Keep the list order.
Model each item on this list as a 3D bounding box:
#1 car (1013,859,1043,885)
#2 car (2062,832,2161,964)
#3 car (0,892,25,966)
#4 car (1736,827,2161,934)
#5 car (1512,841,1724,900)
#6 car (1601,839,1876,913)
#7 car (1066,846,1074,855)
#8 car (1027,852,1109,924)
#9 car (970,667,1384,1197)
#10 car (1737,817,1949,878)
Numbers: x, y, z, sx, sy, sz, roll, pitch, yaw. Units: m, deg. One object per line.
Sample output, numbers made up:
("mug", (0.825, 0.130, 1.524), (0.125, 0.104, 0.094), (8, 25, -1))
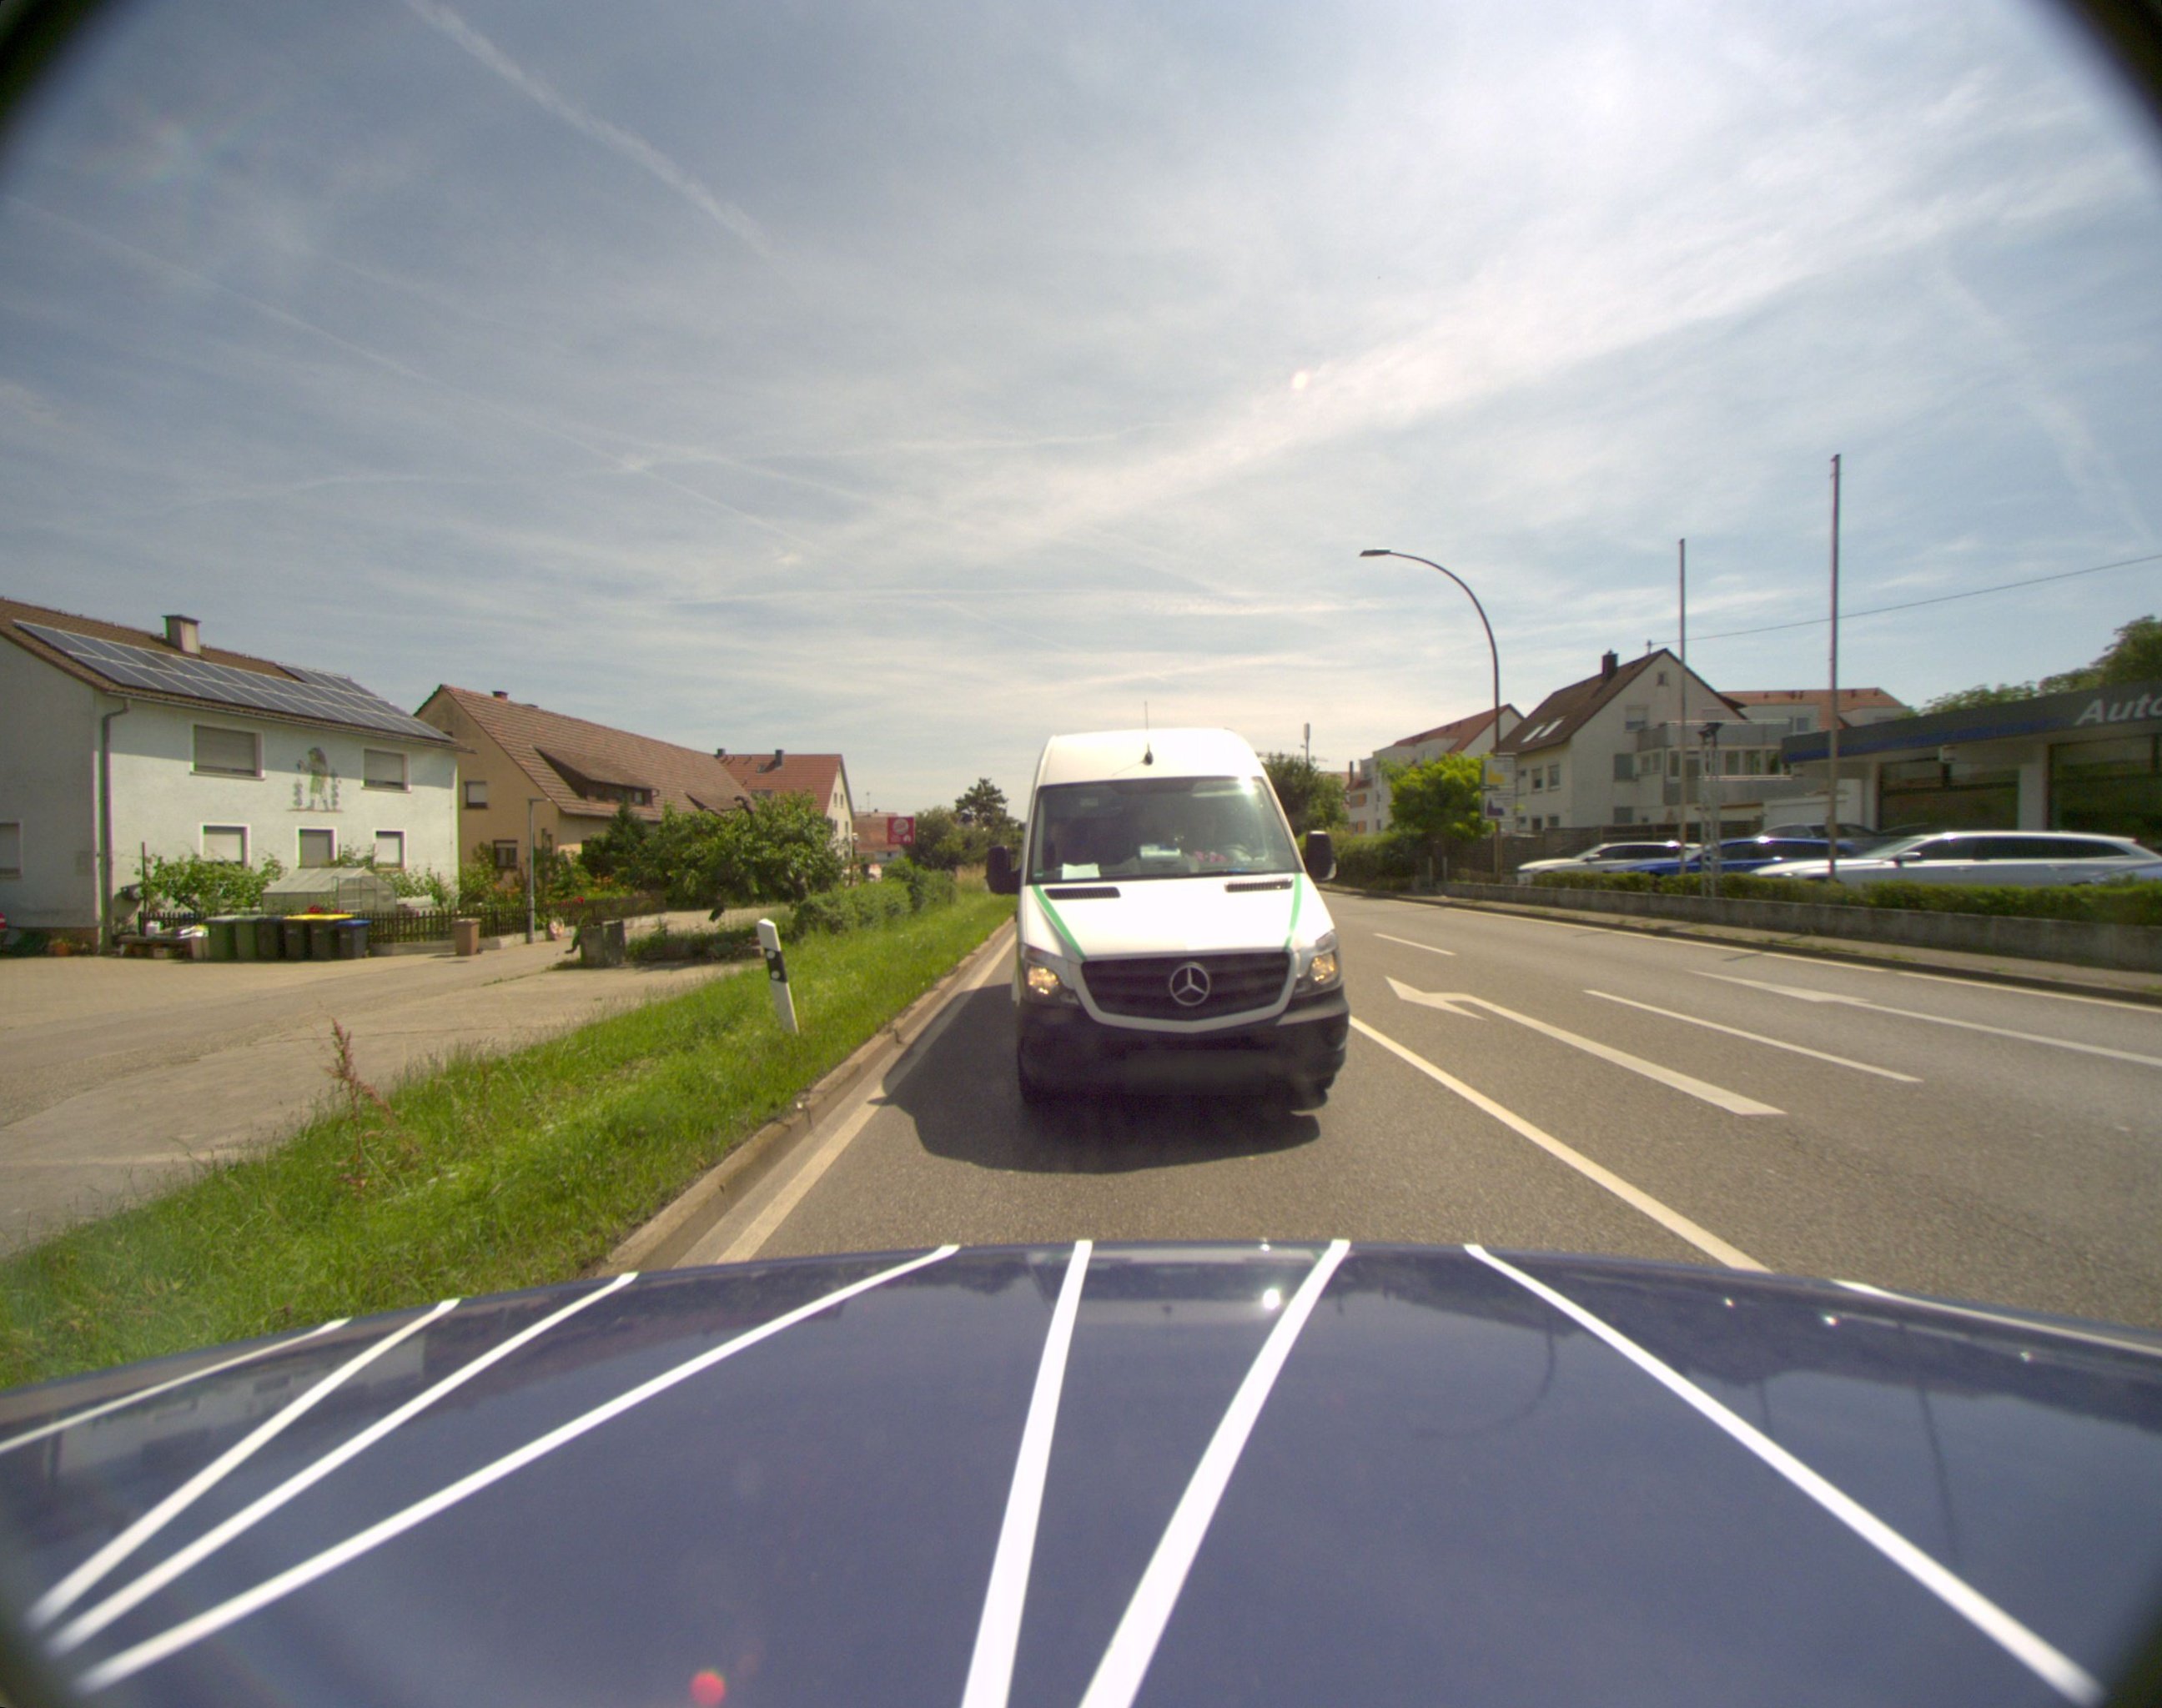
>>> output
("car", (-3.442, 1.131, 49.865), (1.636, 1.476, 3.551), (-4, 1, -1))
("car", (14.484, 0.433, 8.239), (4.331, 1.439, 1.860), (-2, 1, 30))
("car", (-26.861, 1.751, 17.022), (3.957, 1.683, 1.844), (0, 1, 3))
("car", (14.120, 0.463, 12.688), (4.505, 1.439, 1.860), (-4, 0, 30))
("car", (14.519, 0.456, 20.905), (4.568, 1.439, 1.860), (-2, 1, 29))
("car", (14.350, 0.476, 16.971), (4.331, 1.439, 1.860), (-2, 1, 29))
("car", (-3.115, -0.997, 218.156), (1.998, 2.573, 3.999), (-2, 1, 0))
("car", (-0.315, 0.816, 20.500), (1.884, 1.652, 4.625), (-3, 0, 0))
("car", (0.466, 0.379, 6.552), (1.939, 2.514, 5.748), (-2, 0, 0))
("car", (20.874, -0.132, 21.155), (1.807, 1.455, 4.586), (-2, -1, 10))
